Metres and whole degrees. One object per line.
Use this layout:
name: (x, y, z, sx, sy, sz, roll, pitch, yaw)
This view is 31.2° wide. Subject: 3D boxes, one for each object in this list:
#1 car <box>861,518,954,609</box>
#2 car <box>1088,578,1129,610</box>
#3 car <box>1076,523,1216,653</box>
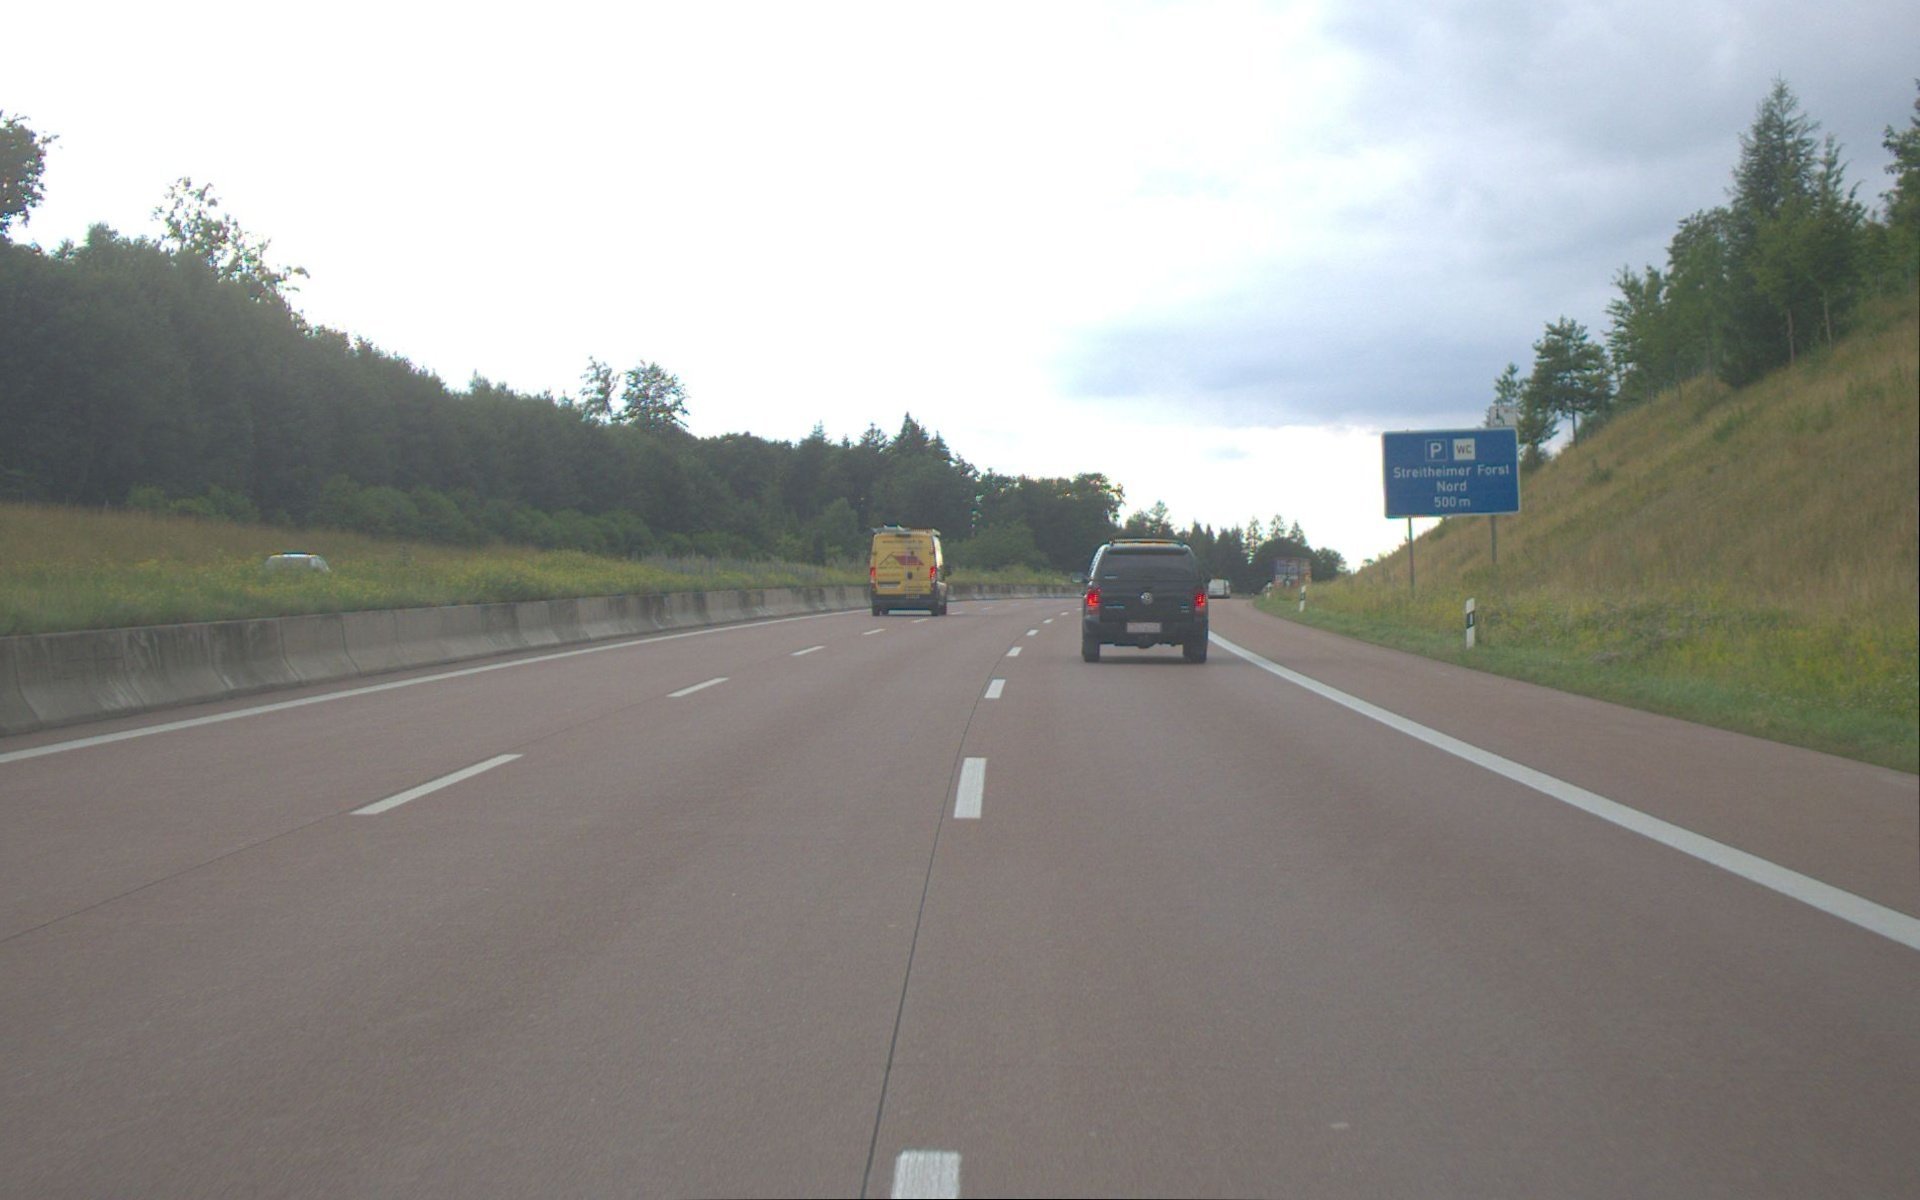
car: (-1.583, -1.087, 105.927, 2.459, 2.697, 5.613, -1, 0, 3)
car: (8.348, -0.331, 192.595, 1.888, 1.758, 4.996, -1, 0, 7)
car: (2.911, -0.155, 53.489, 2.044, 1.890, 5.576, -1, 0, 3)
